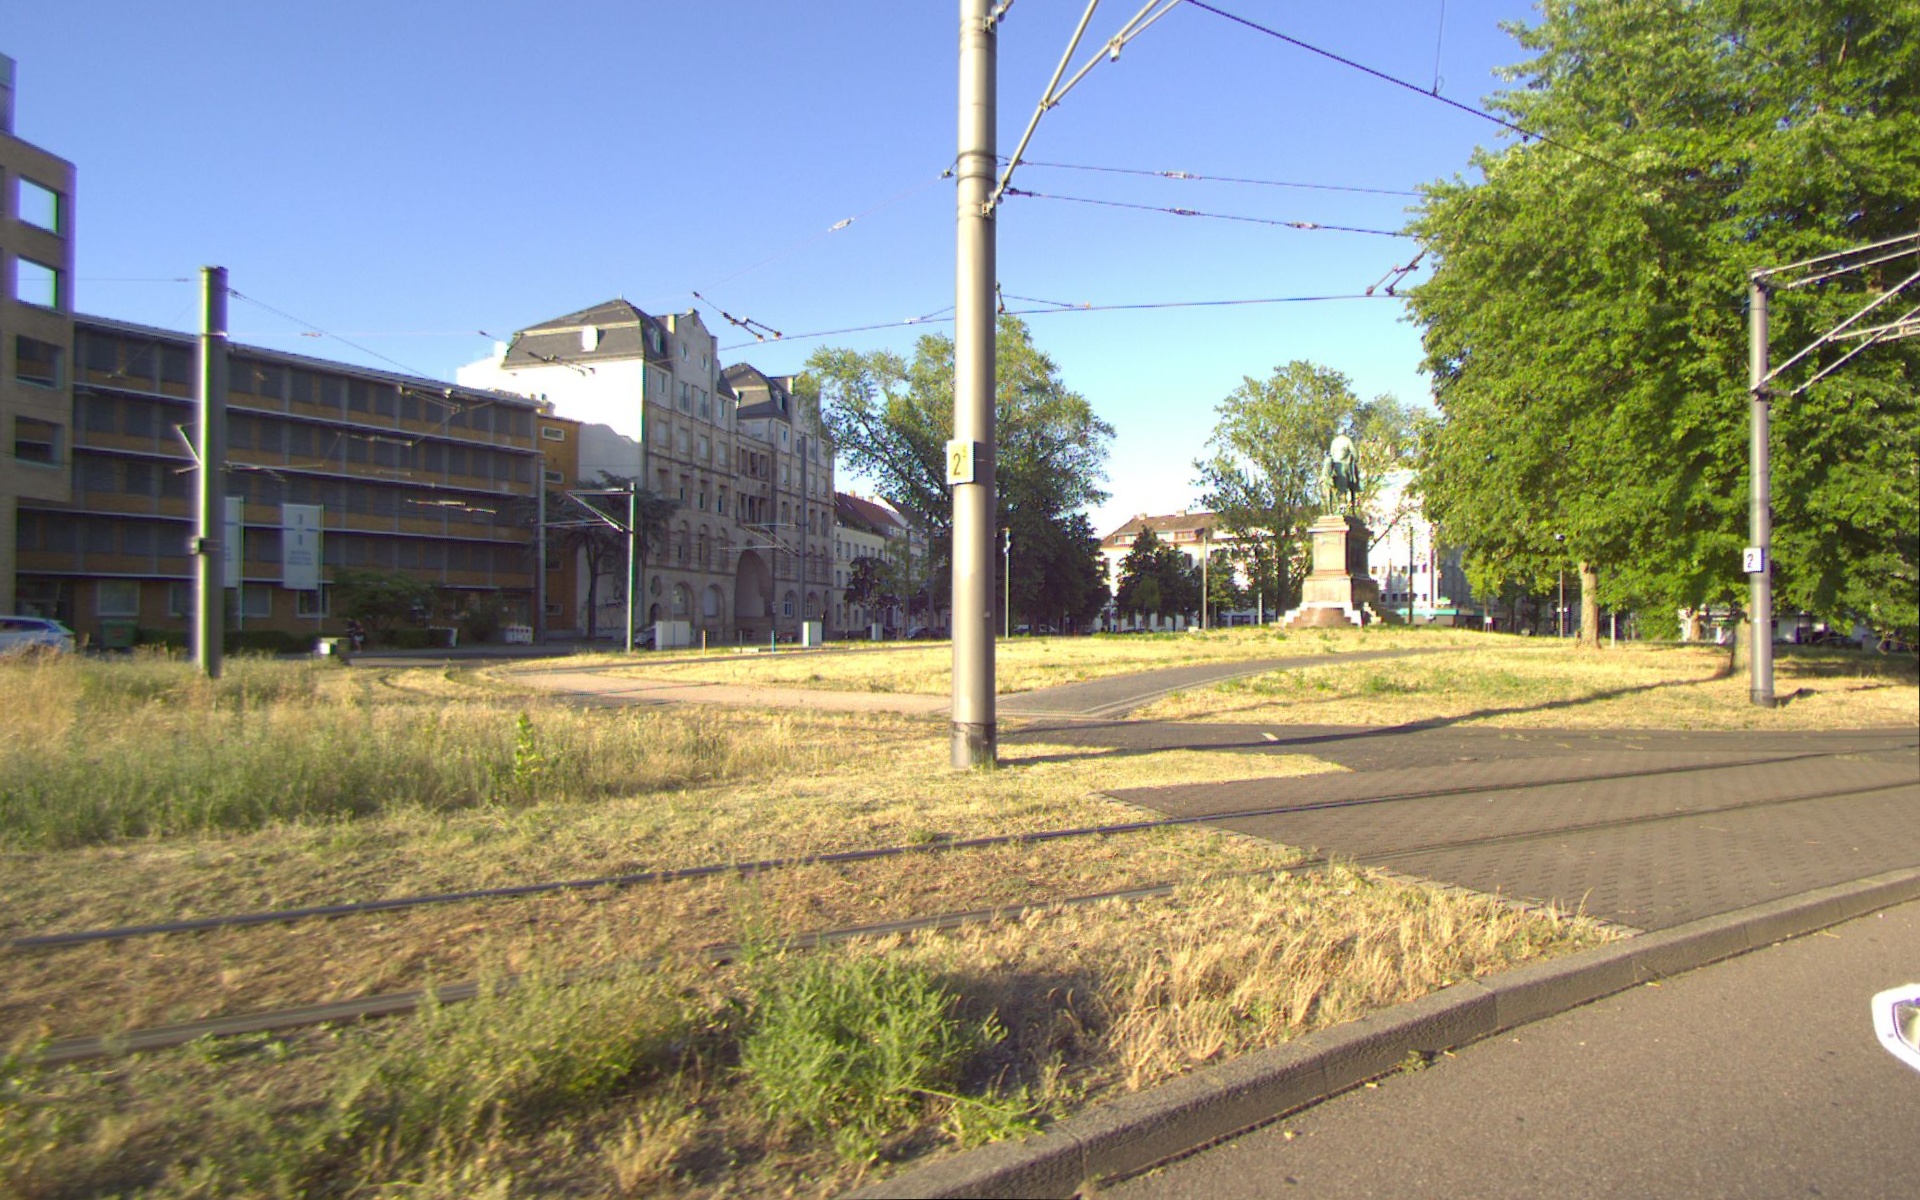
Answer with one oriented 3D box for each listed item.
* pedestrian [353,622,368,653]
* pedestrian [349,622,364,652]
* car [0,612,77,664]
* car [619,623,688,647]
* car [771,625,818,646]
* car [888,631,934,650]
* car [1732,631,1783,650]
[{"bbox_3d":[-28.460,1.769,47.706,0.408,1.449,0.483,-1,-1,38],"label":"pedestrian"},{"bbox_3d":[-28.910,1.762,48.102,0.408,1.449,0.483,-1,-1,38],"label":"pedestrian"},{"bbox_3d":[-28.535,1.100,28.968,1.745,1.502,4.300,0,-1,31],"label":"car"},{"bbox_3d":[-17.436,1.969,57.330,1.543,1.275,3.722,0,-1,30],"label":"car"},{"bbox_3d":[-11.538,2.434,70.201,1.525,1.372,3.519,1,0,24],"label":"car"},{"bbox_3d":[-3.882,3.230,80.265,3.492,1.372,1.536,1,0,-40],"label":"car"},{"bbox_3d":[71.200,3.618,89.666,3.570,1.572,1.654,0,-1,40],"label":"car"}]
